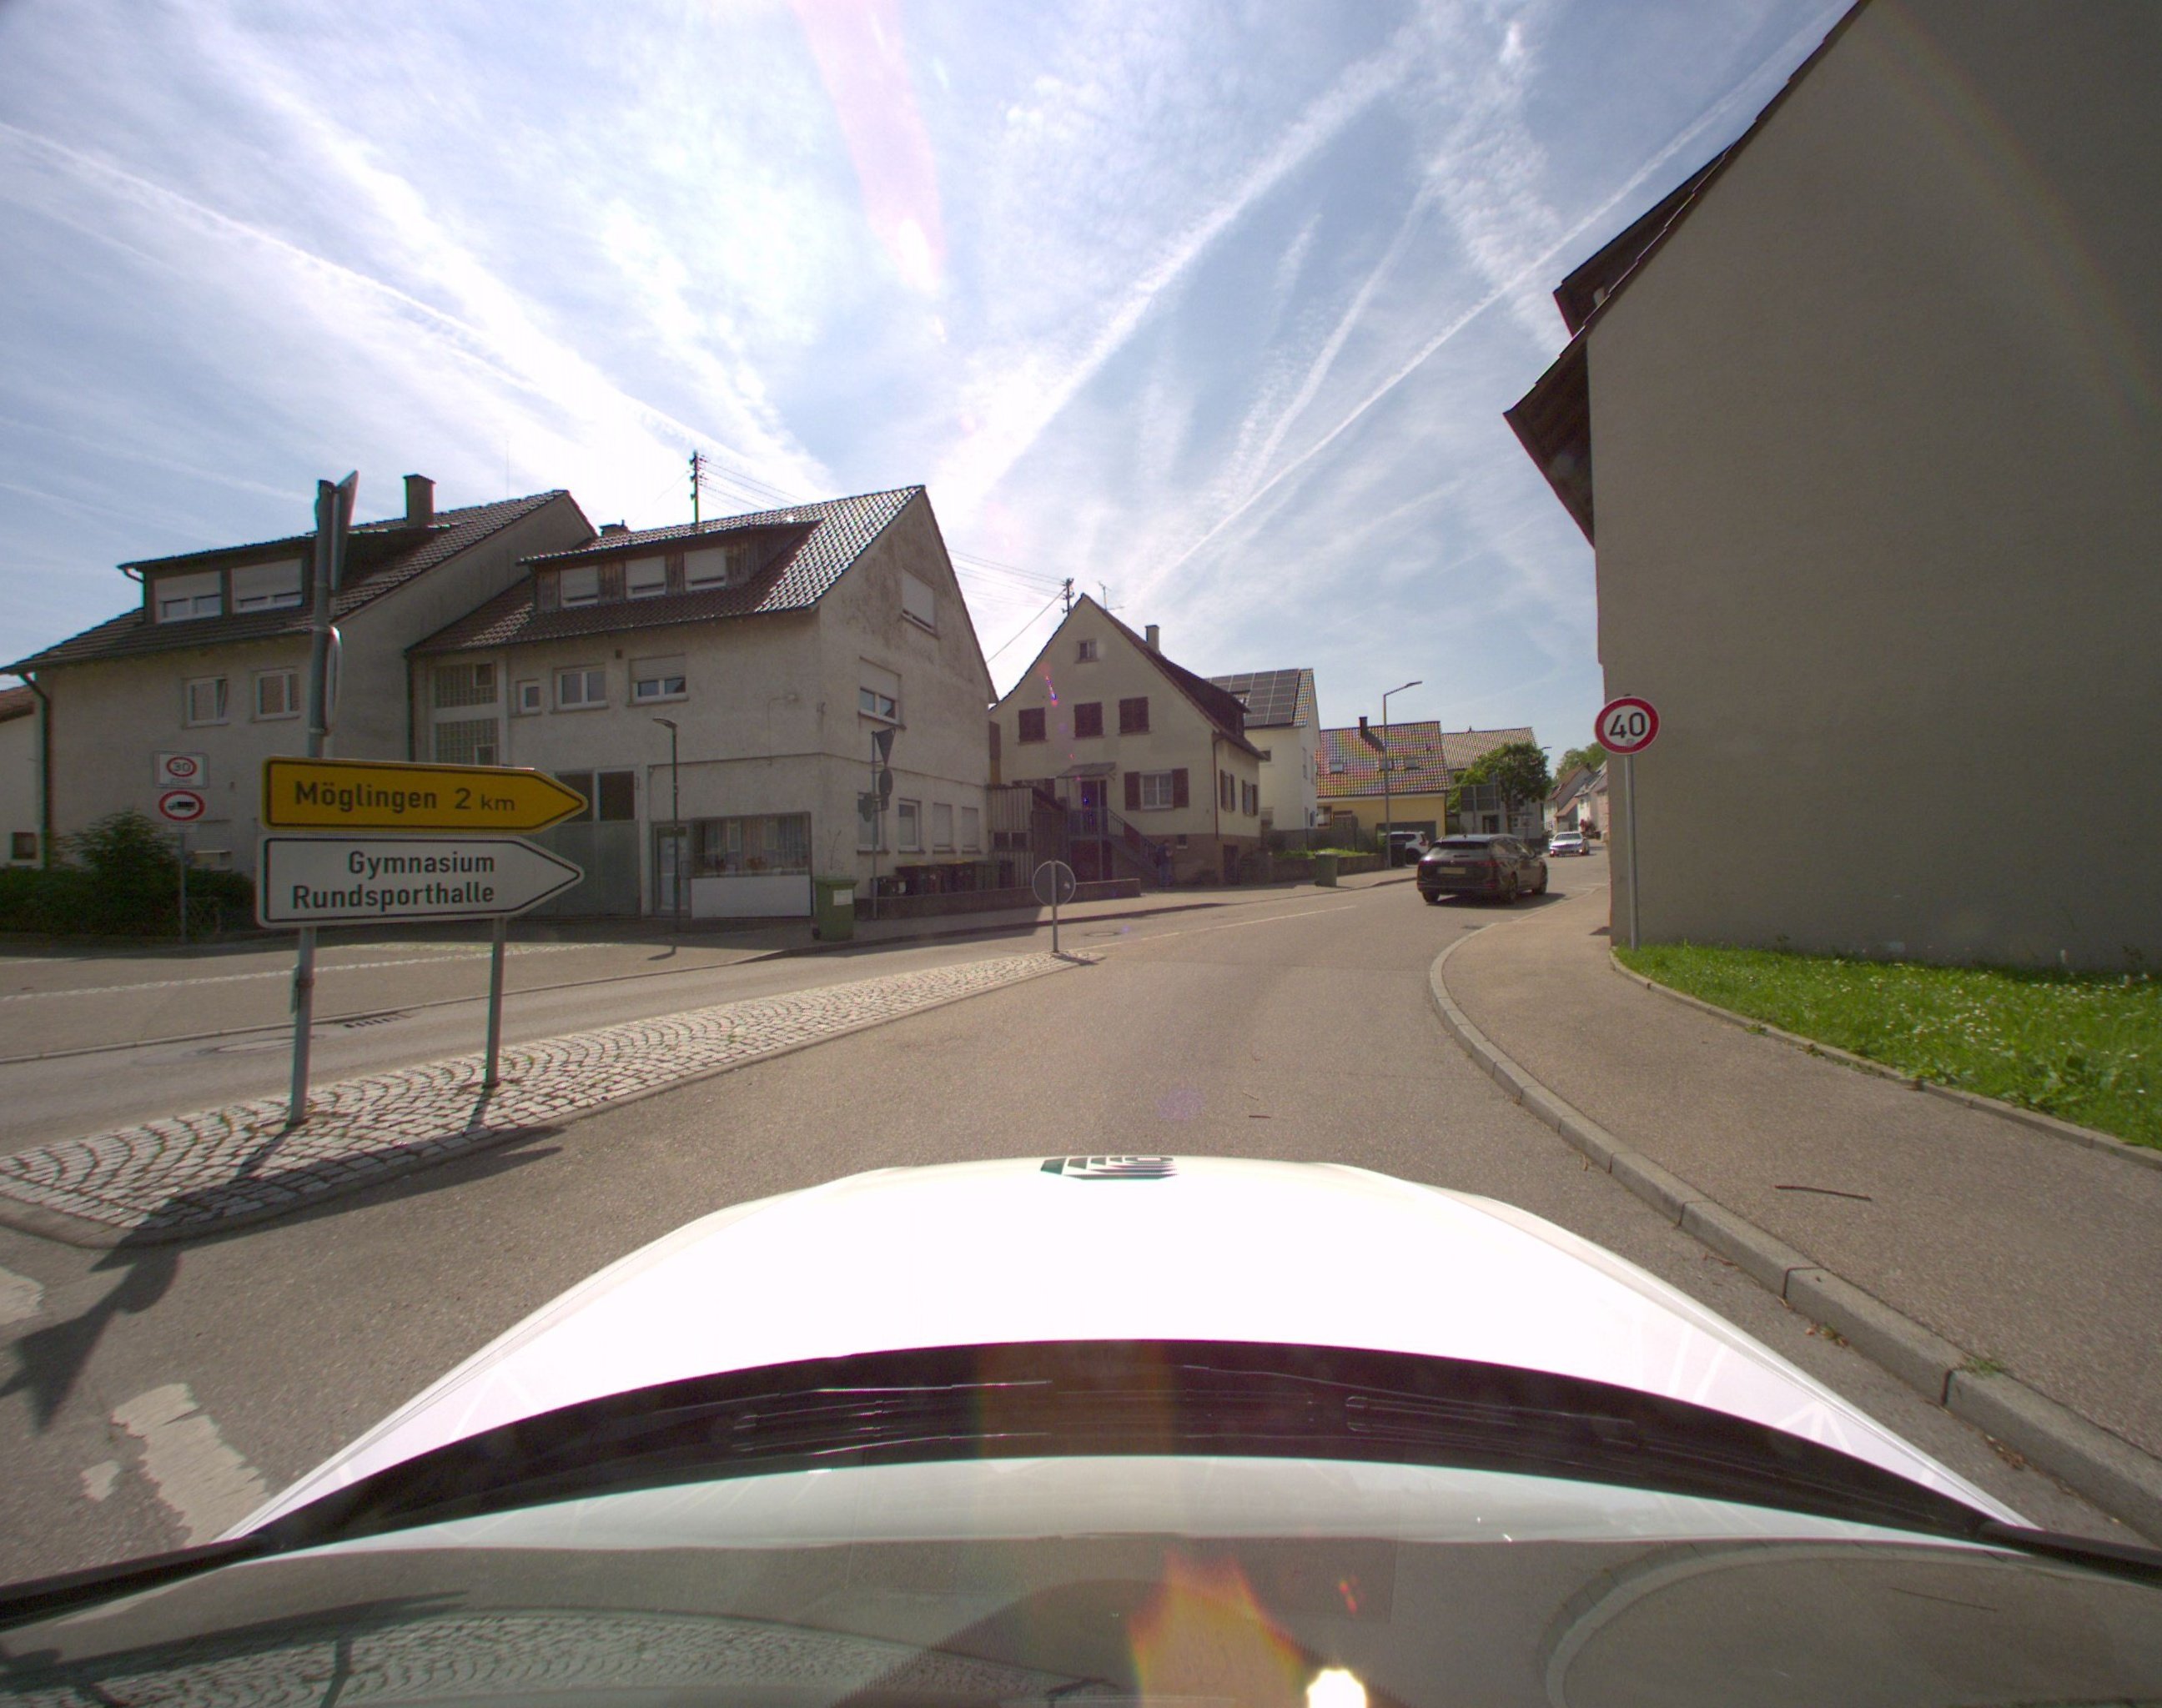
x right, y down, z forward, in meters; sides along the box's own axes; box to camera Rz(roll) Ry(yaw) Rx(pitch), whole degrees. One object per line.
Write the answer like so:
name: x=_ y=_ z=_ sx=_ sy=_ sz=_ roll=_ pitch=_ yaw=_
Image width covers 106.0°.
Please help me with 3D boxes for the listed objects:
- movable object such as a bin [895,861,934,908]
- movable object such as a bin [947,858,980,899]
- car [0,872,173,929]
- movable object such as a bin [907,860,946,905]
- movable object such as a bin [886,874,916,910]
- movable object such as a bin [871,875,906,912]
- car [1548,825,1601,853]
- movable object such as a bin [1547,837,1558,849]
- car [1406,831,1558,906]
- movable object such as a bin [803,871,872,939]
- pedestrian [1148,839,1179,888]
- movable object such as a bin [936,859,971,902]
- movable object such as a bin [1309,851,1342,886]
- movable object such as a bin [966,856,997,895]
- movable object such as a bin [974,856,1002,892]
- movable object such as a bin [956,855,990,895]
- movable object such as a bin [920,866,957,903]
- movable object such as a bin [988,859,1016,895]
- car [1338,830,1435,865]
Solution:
movable object such as a bin: x=-3.994 y=0.724 z=19.540 sx=0.678 sy=1.086 sz=0.647 roll=-1 pitch=1 yaw=13
movable object such as a bin: x=-3.201 y=0.674 z=22.262 sx=0.678 sy=1.082 sz=0.628 roll=-1 pitch=1 yaw=13
car: x=-26.648 y=1.181 z=21.355 sx=1.476 sy=1.251 sz=3.425 roll=-1 pitch=1 yaw=18
movable object such as a bin: x=-3.831 y=0.703 z=20.218 sx=0.678 sy=1.086 sz=0.701 roll=-1 pitch=1 yaw=13
movable object such as a bin: x=-4.184 y=0.880 z=18.974 sx=0.481 sy=0.780 sz=0.529 roll=-1 pitch=1 yaw=13
movable object such as a bin: x=-4.341 y=0.886 z=18.398 sx=0.481 sy=0.805 sz=0.649 roll=-1 pitch=1 yaw=15
car: x=29.235 y=-0.892 z=48.204 sx=1.936 sy=1.486 sz=4.487 roll=-4 pitch=-1 yaw=40
movable object such as a bin: x=41.451 y=-0.943 z=71.556 sx=0.746 sy=1.060 sz=0.684 roll=-1 pitch=1 yaw=27
car: x=9.047 y=0.248 z=18.155 sx=1.824 sy=1.420 sz=4.711 roll=-1 pitch=1 yaw=42
movable object such as a bin: x=-4.085 y=0.838 z=13.656 sx=0.831 sy=1.045 sz=0.802 roll=-2 pitch=1 yaw=-40
pedestrian: x=2.693 y=0.307 z=26.561 sx=0.769 sy=1.574 sz=0.632 roll=-1 pitch=1 yaw=31
movable object such as a bin: x=-3.376 y=0.697 z=21.594 sx=0.678 sy=1.082 sz=0.701 roll=-1 pitch=1 yaw=13
movable object such as a bin: x=7.623 y=0.450 z=25.420 sx=0.783 sy=1.057 sz=0.655 roll=-2 pitch=0 yaw=36
movable object such as a bin: x=-2.860 y=0.604 z=23.441 sx=0.673 sy=1.082 sz=0.586 roll=-1 pitch=1 yaw=13
movable object such as a bin: x=-2.737 y=0.592 z=24.079 sx=0.623 sy=1.035 sz=0.606 roll=-1 pitch=1 yaw=13
movable object such as a bin: x=-3.022 y=0.577 z=22.905 sx=0.733 sy=1.082 sz=0.663 roll=-1 pitch=1 yaw=13
movable object such as a bin: x=-3.662 y=0.771 z=20.923 sx=0.678 sy=0.896 sz=0.701 roll=-1 pitch=1 yaw=13
movable object such as a bin: x=-2.388 y=0.692 z=24.659 sx=0.624 sy=1.034 sz=0.615 roll=-1 pitch=1 yaw=13
car: x=15.455 y=-0.305 z=41.256 sx=4.360 sy=1.622 sz=2.012 roll=-1 pitch=0 yaw=27
